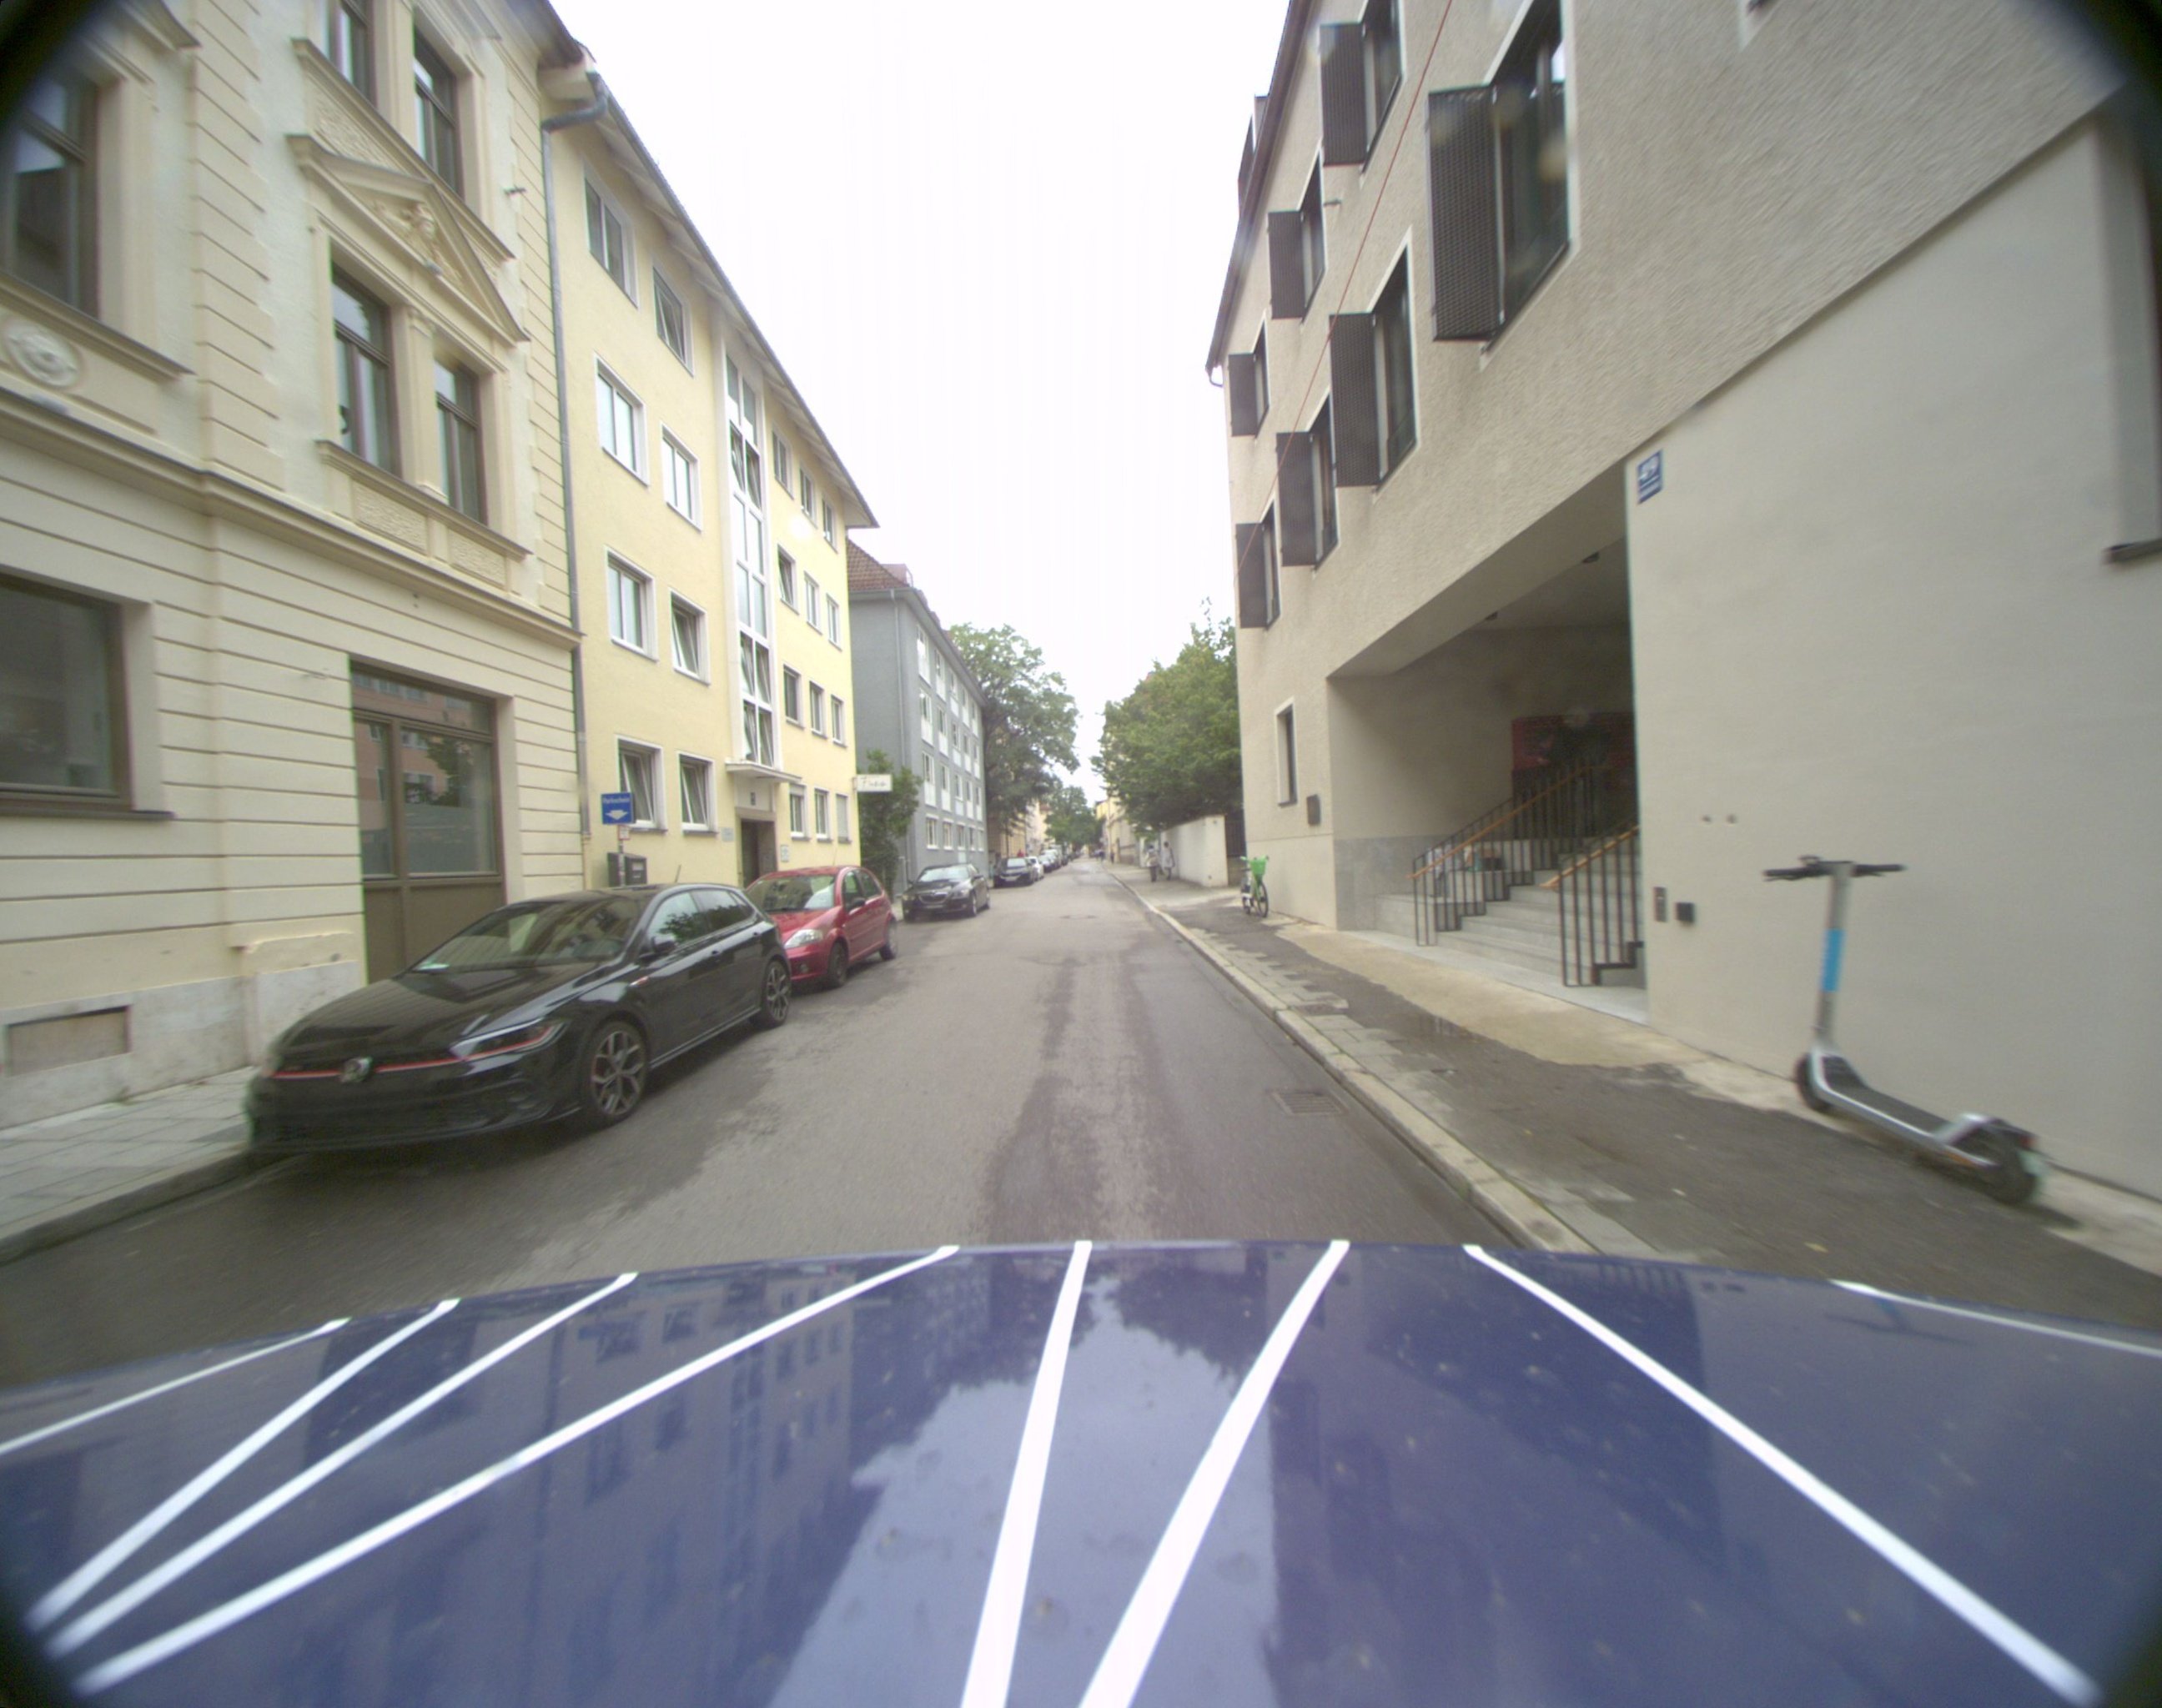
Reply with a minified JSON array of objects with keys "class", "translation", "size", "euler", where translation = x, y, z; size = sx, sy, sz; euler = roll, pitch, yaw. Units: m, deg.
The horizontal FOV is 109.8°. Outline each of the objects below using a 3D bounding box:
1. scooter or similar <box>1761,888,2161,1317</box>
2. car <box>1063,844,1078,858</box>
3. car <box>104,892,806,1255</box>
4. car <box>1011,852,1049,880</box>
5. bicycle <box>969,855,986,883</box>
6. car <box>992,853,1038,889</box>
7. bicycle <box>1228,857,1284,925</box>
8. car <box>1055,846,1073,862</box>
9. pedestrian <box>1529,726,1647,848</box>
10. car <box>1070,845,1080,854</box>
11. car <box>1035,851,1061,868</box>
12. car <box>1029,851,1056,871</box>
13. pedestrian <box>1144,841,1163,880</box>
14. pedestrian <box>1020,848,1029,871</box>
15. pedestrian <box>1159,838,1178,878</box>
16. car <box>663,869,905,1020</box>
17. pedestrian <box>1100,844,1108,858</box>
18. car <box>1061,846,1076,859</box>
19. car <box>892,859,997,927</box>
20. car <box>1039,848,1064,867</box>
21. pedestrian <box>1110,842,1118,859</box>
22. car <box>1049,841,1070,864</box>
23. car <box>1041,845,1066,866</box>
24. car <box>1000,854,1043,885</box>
[{"class":"scooter or similar","translation":[3.326,0.770,2.874],"size":[0.553,1.137,1.359],"euler":[-5,1,17]},{"class":"car","translation":[-1.780,-0.492,134.666],"size":[2.242,2.247,5.090],"euler":[-7,1,2]},{"class":"car","translation":[-3.659,1.131,5.582],"size":[1.680,1.385,4.065],"euler":[-3,0,1]},{"class":"car","translation":[-3.126,0.708,47.353],"size":[1.773,1.437,4.344],"euler":[-7,0,2]},{"class":"bicycle","translation":[-5.809,0.835,42.579],"size":[0.515,1.478,2.279],"euler":[-3,1,1]},{"class":"car","translation":[-3.195,0.788,37.464],"size":[1.846,1.420,4.263],"euler":[-7,0,-1]},{"class":"bicycle","translation":[3.293,0.665,14.451],"size":[0.539,1.132,1.916],"euler":[-5,1,0]},{"class":"car","translation":[-2.277,-0.056,105.058],"size":[2.014,1.989,5.090],"euler":[-7,0,2]},{"class":"pedestrian","translation":[6.524,-0.836,9.825],"size":[1.008,1.476,0.760],"euler":[-2,2,8]},{"class":"car","translation":[-1.482,-1.071,189.146],"size":[2.014,1.969,5.090],"euler":[-7,0,2]},{"class":"car","translation":[-2.875,0.456,67.206],"size":[1.998,1.306,4.593],"euler":[-3,1,1]},{"class":"car","translation":[-3.095,0.534,61.991],"size":[1.860,1.366,4.509],"euler":[-5,1,-1]},{"class":"pedestrian","translation":[3.036,0.275,31.900],"size":[0.624,1.570,0.714],"euler":[-4,2,0]},{"class":"pedestrian","translation":[-4.923,0.501,66.342],"size":[0.581,1.966,0.455],"euler":[-3,1,0]},{"class":"pedestrian","translation":[3.683,0.166,31.993],"size":[0.615,1.612,0.687],"euler":[-5,1,1]},{"class":"car","translation":[-3.744,1.048,10.380],"size":[1.680,1.484,3.853],"euler":[-3,1,1]},{"class":"pedestrian","translation":[2.914,-0.334,97.969],"size":[0.920,1.742,1.066],"euler":[-3,1,0]},{"class":"car","translation":[-2.078,-0.237,128.204],"size":[2.014,1.914,5.090],"euler":[-7,0,2]},{"class":"car","translation":[-3.448,0.937,20.078],"size":[1.830,1.327,4.508],"euler":[-7,0,0]},{"class":"car","translation":[-2.784,0.283,72.519],"size":[1.998,1.677,4.510],"euler":[-3,1,1]},{"class":"pedestrian","translation":[3.515,-0.335,80.448],"size":[0.766,1.742,0.970],"euler":[-3,1,0]},{"class":"car","translation":[-2.528,-0.208,91.638],"size":[2.014,2.479,5.090],"euler":[-7,1,2]},{"class":"car","translation":[-2.793,0.085,78.537],"size":[1.998,2.002,5.064],"euler":[-3,1,3]},{"class":"car","translation":[-3.261,0.797,42.293],"size":[1.794,1.393,4.485],"euler":[-7,0,2]}]
